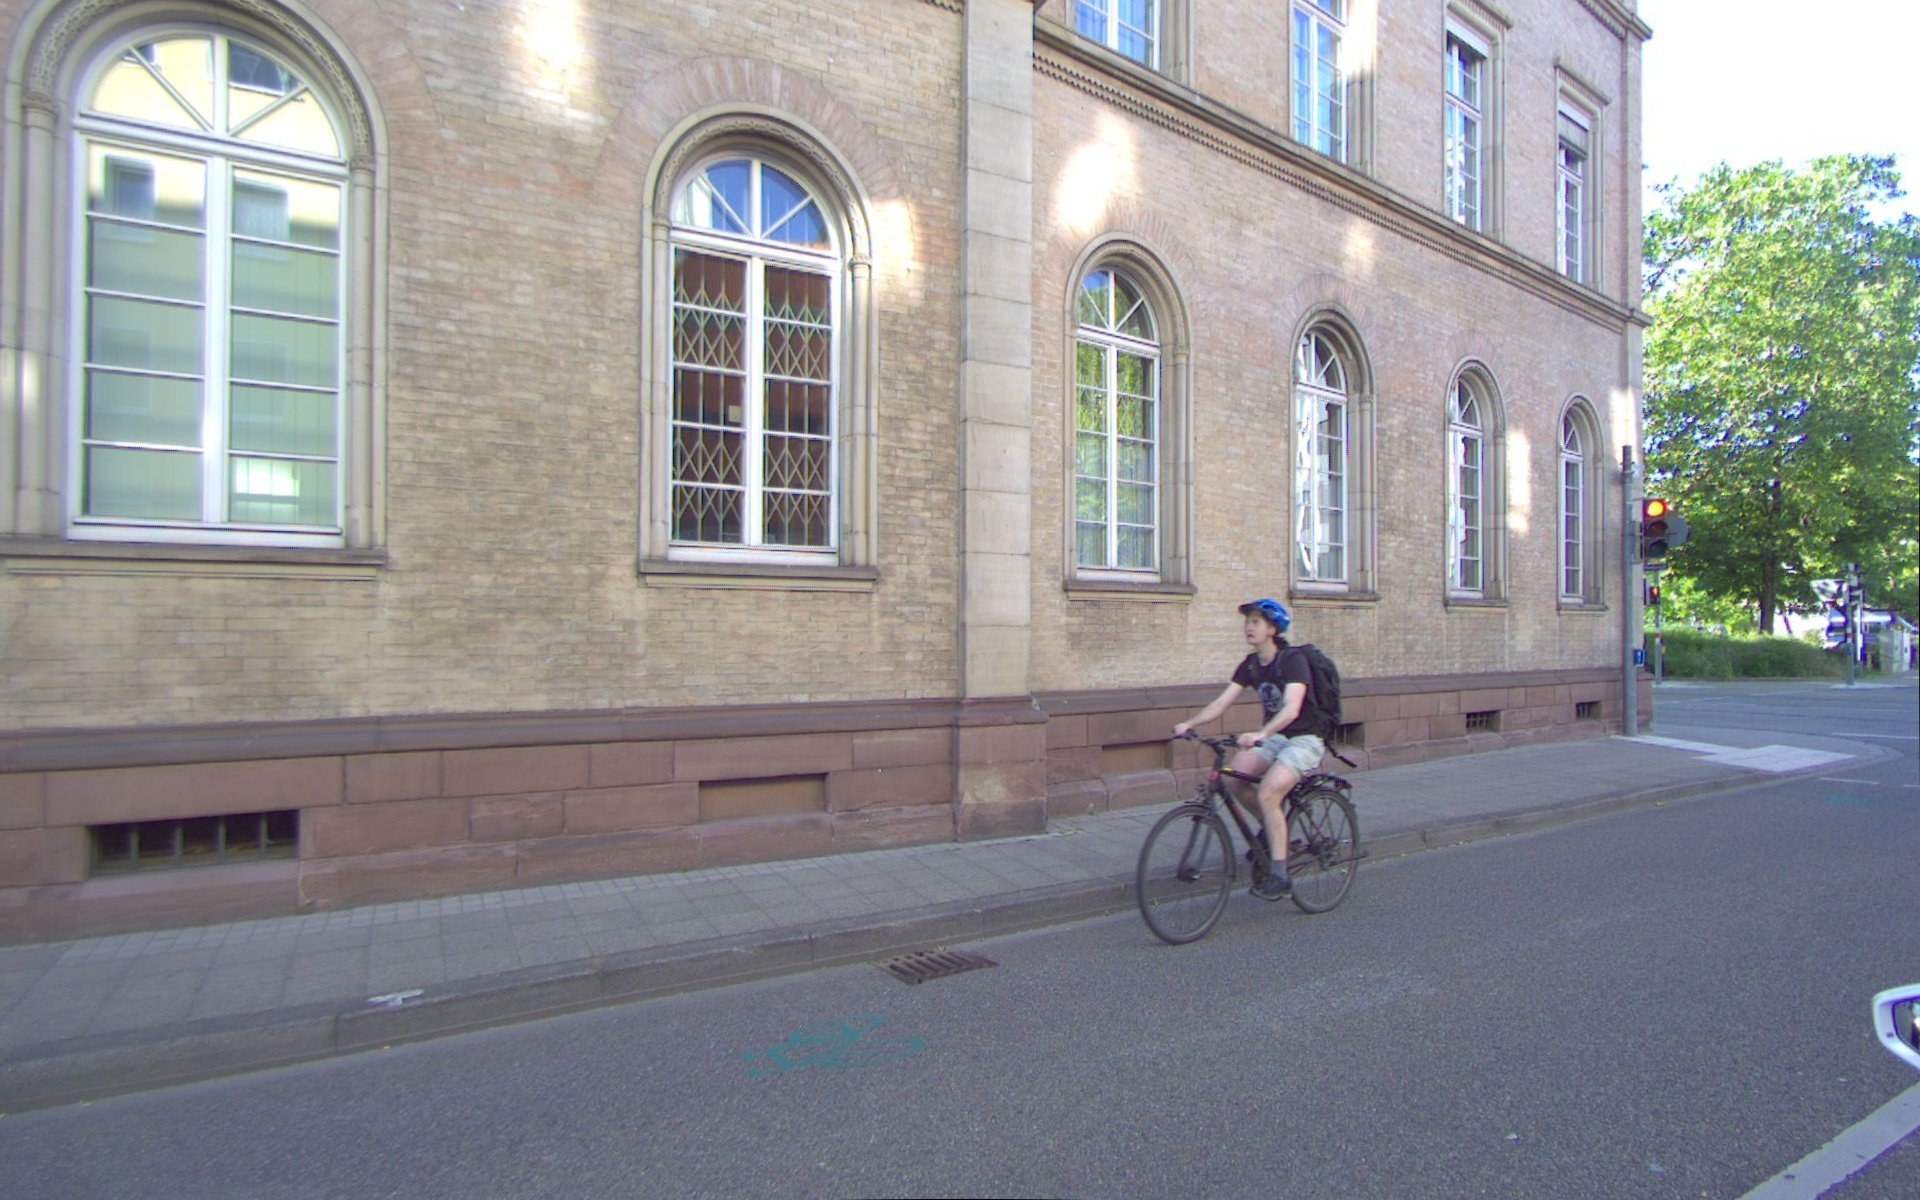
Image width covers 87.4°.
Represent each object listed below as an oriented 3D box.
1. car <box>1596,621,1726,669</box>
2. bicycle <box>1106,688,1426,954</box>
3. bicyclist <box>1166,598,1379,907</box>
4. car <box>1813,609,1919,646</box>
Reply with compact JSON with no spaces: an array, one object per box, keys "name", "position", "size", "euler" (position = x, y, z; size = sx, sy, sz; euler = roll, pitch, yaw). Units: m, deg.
[{"name":"car","position":[24.380,1.526,35.023],"size":[1.636,1.476,3.382],"euler":[2,0,-39]},{"name":"bicycle","position":[1.737,1.121,5.562],"size":[1.948,1.167,0.587],"euler":[1,-1,-33]},{"name":"bicyclist","position":[1.741,0.777,5.579],"size":[1.067,1.547,0.587],"euler":[1,-1,-33]},{"name":"car","position":[53.500,1.607,59.386],"size":[1.983,2.040,4.409],"euler":[2,0,-38]}]
